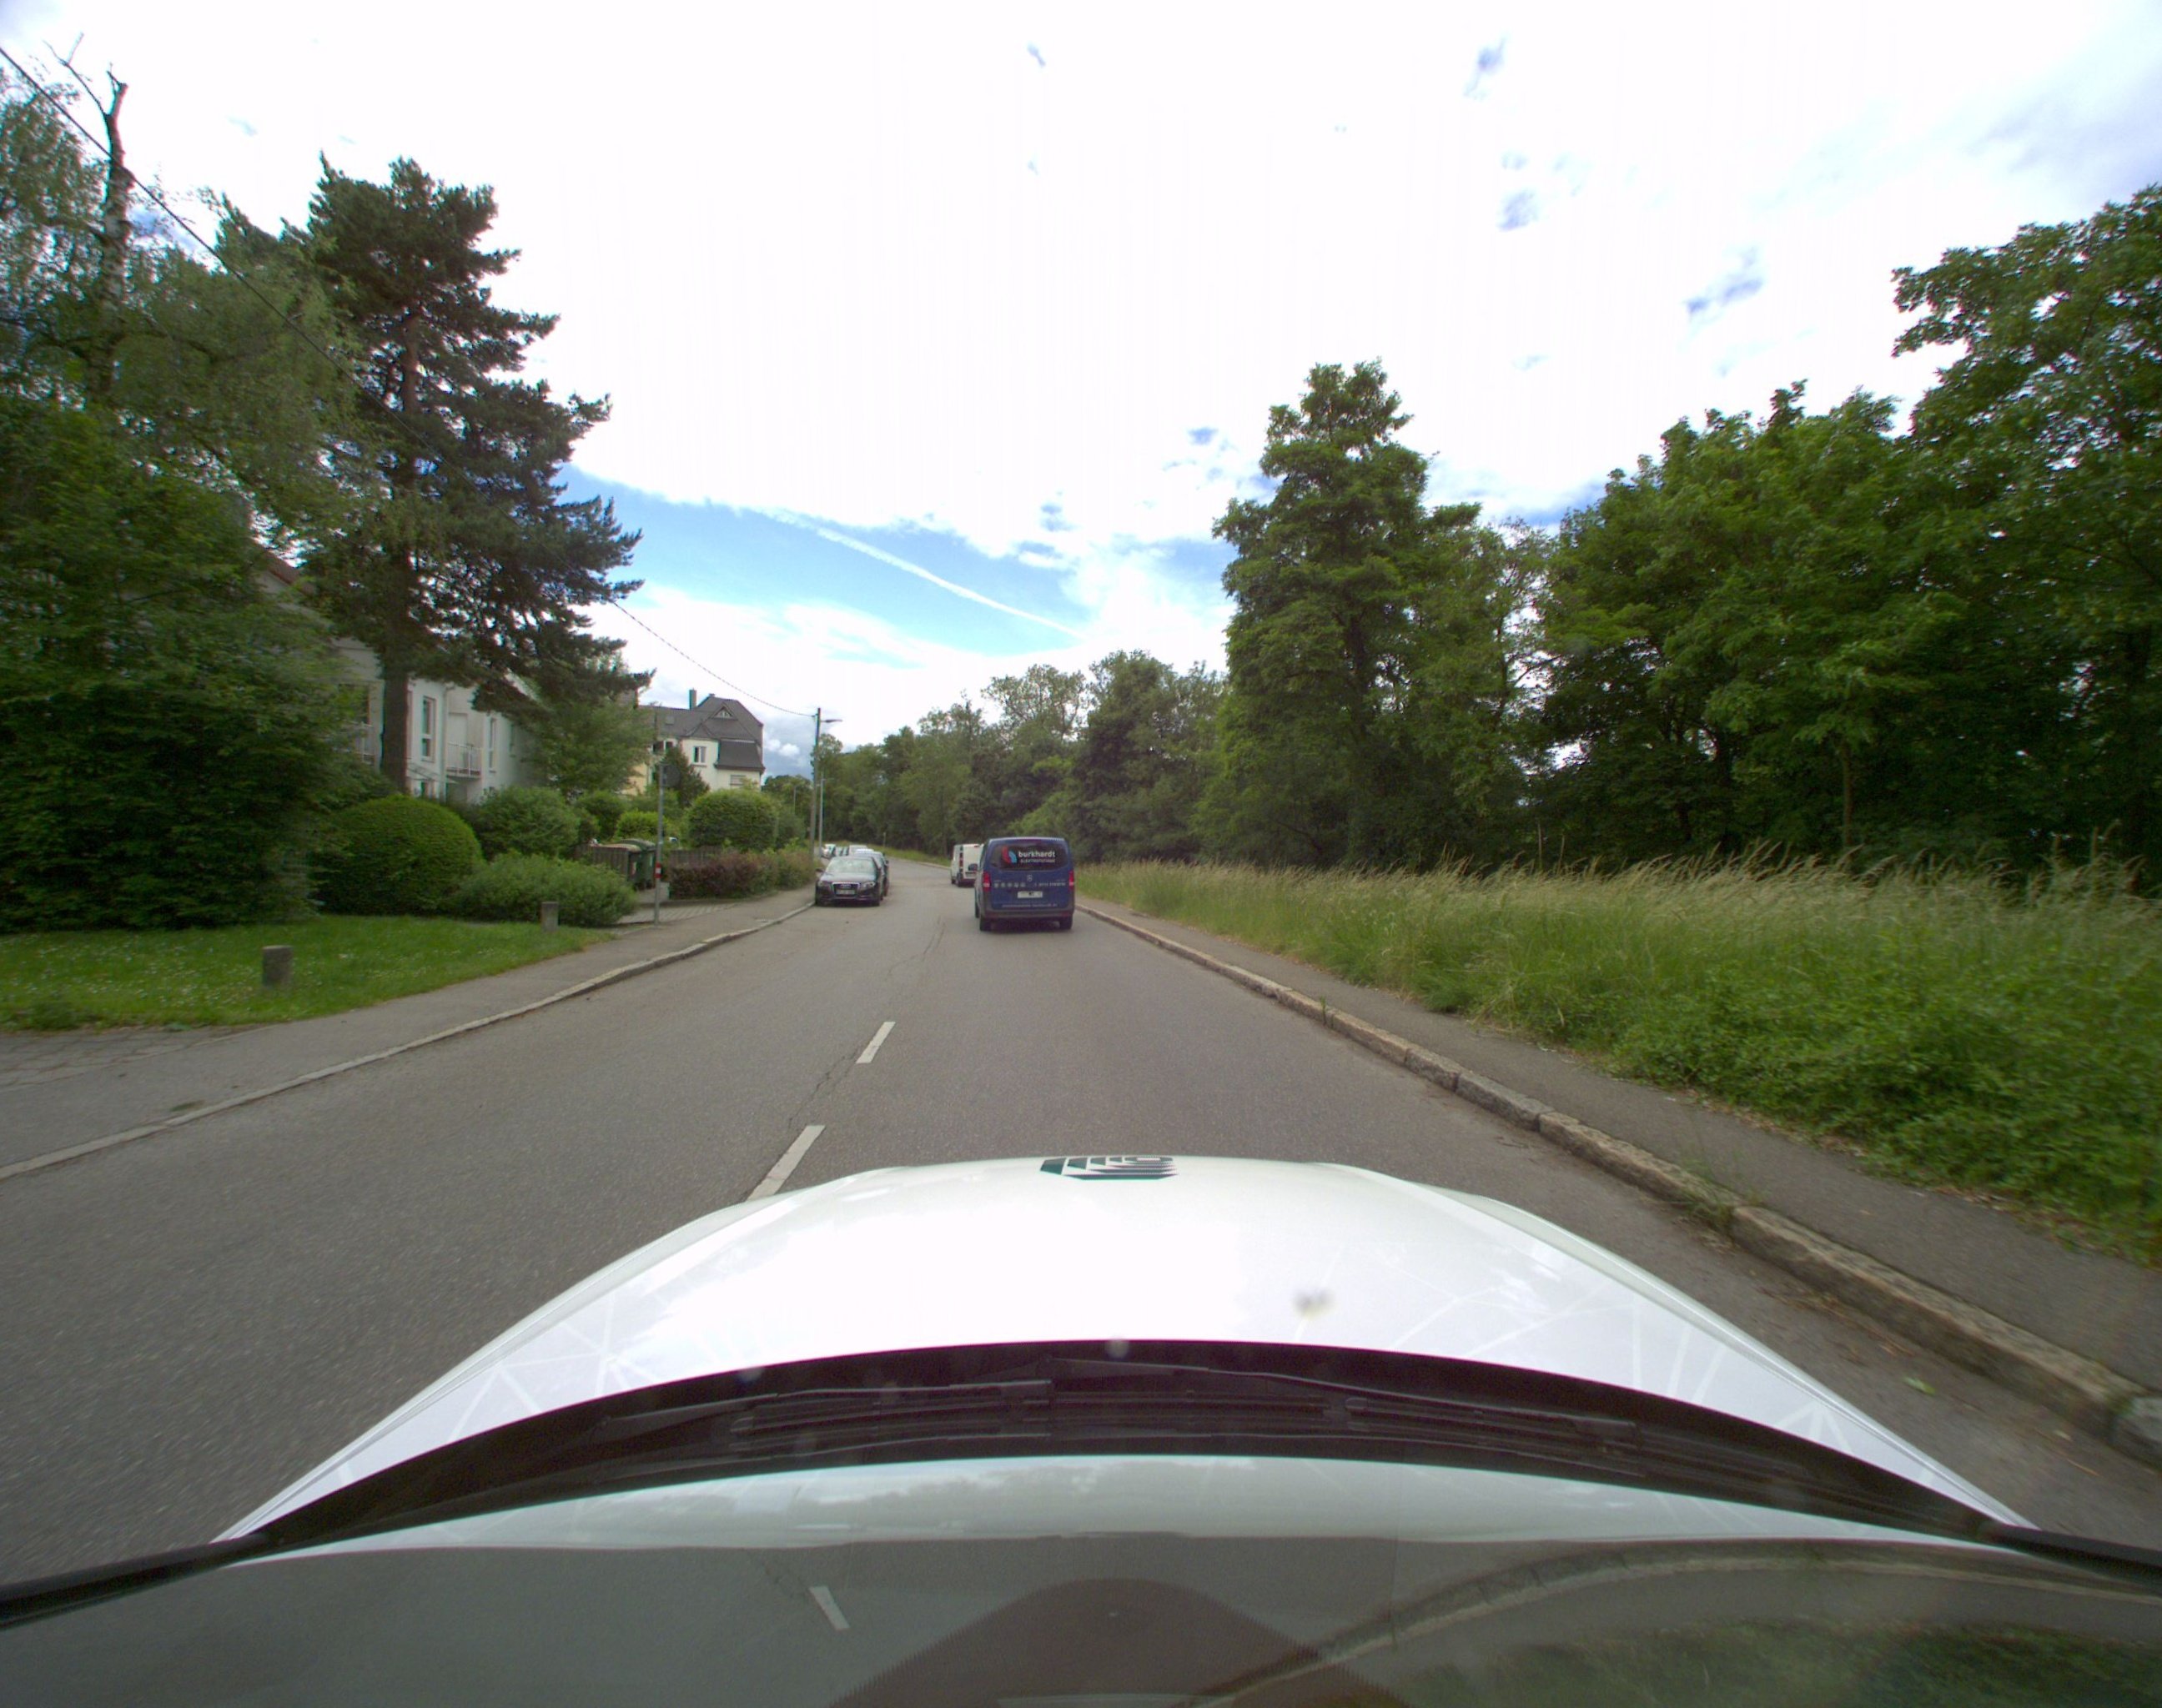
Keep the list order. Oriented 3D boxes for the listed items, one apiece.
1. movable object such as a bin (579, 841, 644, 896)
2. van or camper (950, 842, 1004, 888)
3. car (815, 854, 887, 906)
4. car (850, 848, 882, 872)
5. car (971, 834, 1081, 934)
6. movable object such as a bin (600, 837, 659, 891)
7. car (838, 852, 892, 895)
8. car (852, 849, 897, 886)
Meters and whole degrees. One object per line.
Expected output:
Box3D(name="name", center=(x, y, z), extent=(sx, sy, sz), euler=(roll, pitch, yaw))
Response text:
Box3D(name="movable object such as a bin", center=(-12.535, 0.375, 21.782), extent=(1.115, 1.363, 1.387), euler=(2, 1, -14))
Box3D(name="van or camper", center=(-4.913, 0.463, 37.929), extent=(2.021, 1.956, 4.876), euler=(1, 1, -12))
Box3D(name="car", center=(-6.843, 0.719, 24.579), extent=(1.736, 1.418, 4.486), euler=(1, 0, -11))
Box3D(name="car", center=(-14.906, 0.389, 56.348), extent=(1.729, 1.492, 4.386), euler=(4, -1, -19))
Box3D(name="car", center=(-1.327, 0.521, 17.629), extent=(1.914, 1.837, 4.279), euler=(0, 2, -10))
Box3D(name="movable object such as a bin", center=(-12.872, 0.268, 23.258), extent=(1.094, 1.466, 1.446), euler=(2, 1, -14))
Box3D(name="car", center=(-7.735, 0.649, 29.434), extent=(1.651, 1.441, 4.314), euler=(1, 0, -12))
Box3D(name="car", center=(-9.041, 0.554, 35.869), extent=(1.763, 1.480, 4.109), euler=(2, 0, -13))
